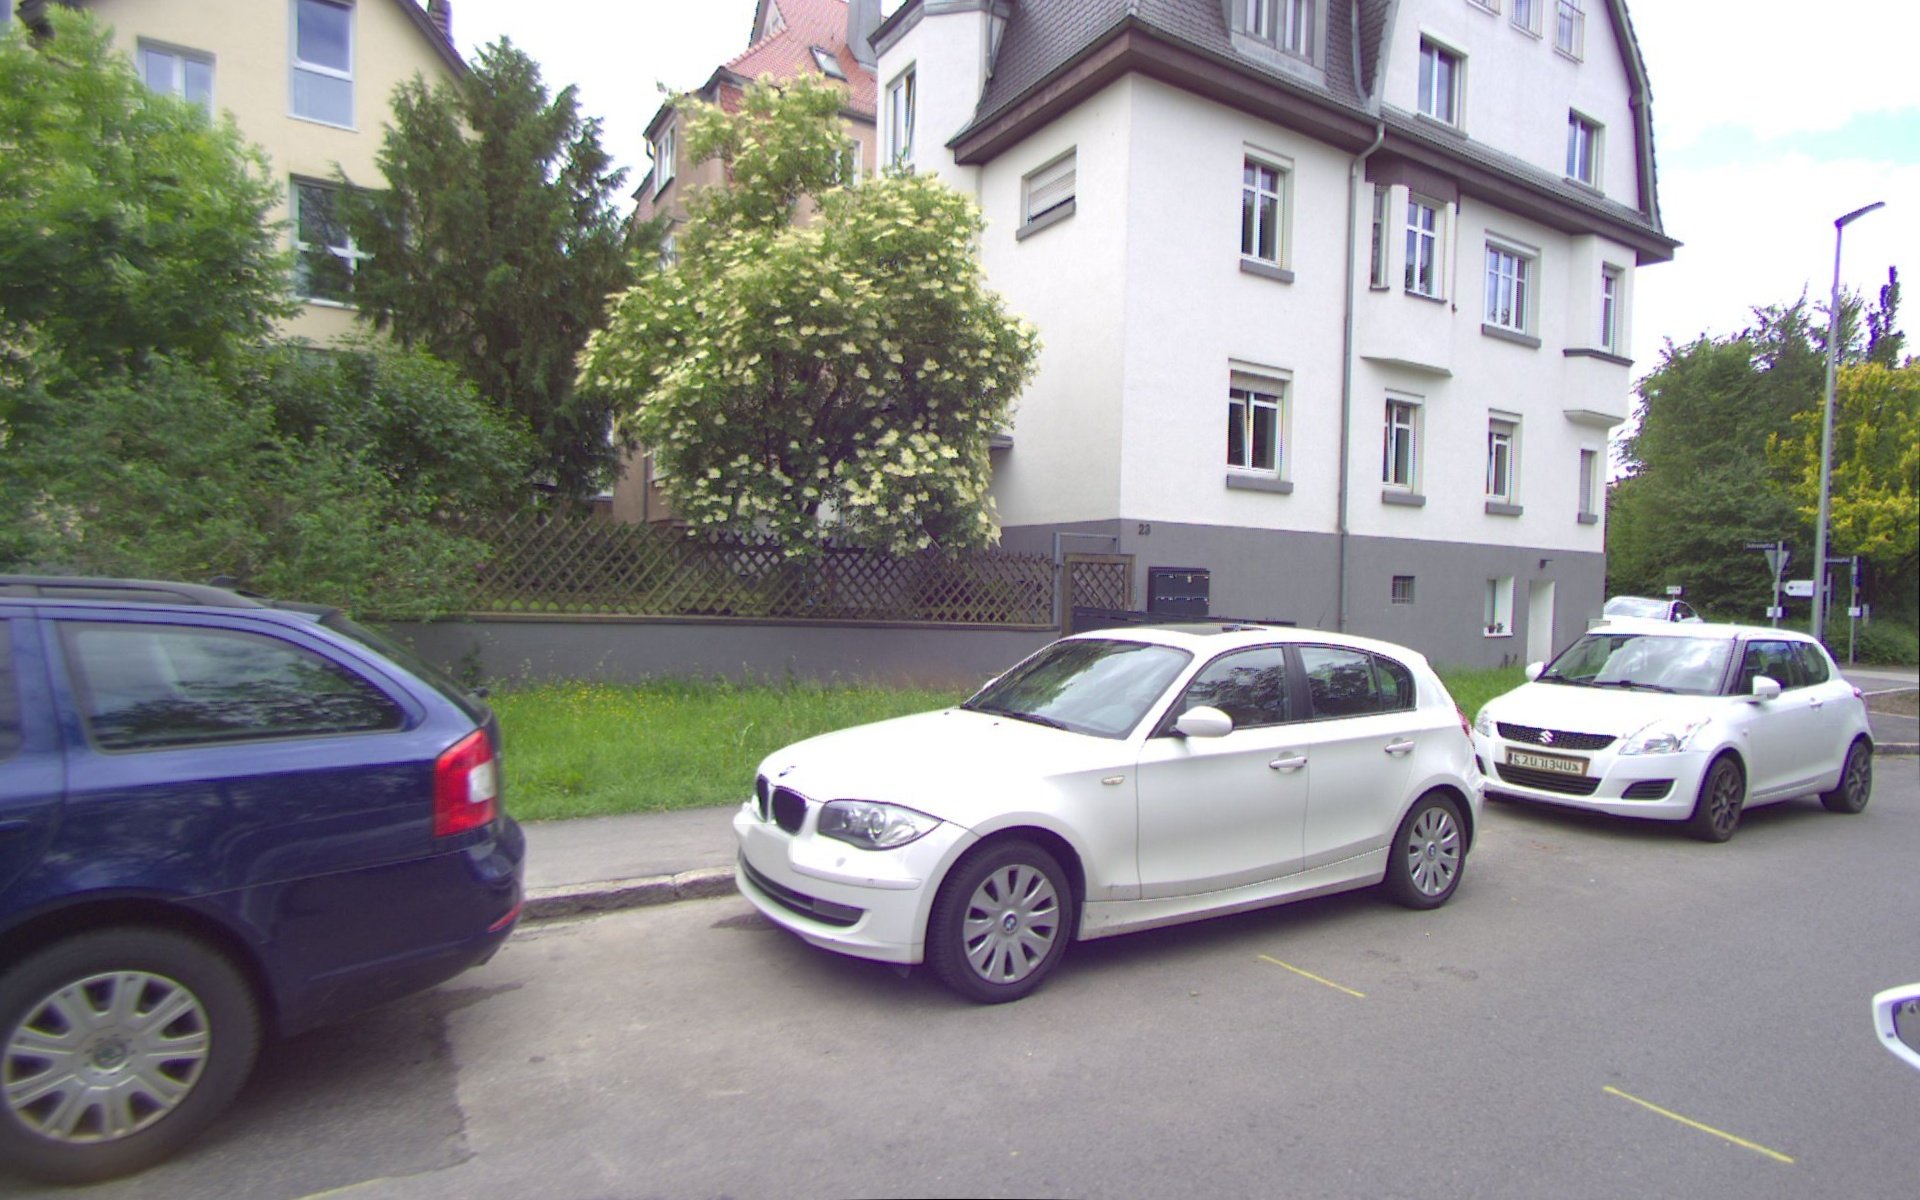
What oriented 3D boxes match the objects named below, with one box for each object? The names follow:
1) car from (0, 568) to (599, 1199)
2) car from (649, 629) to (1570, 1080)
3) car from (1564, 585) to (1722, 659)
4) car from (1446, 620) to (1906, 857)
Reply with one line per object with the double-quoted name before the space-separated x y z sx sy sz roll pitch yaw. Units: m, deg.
"car" -3.555 0.738 2.520 4.761 1.594 1.717 0 -2 -32
"car" 0.991 0.886 5.149 4.673 1.408 1.716 2 -2 -31
"car" 16.682 0.544 24.439 4.559 1.553 1.890 2 2 -39
"car" 5.870 0.938 8.113 4.026 1.489 1.634 2 -2 -32
